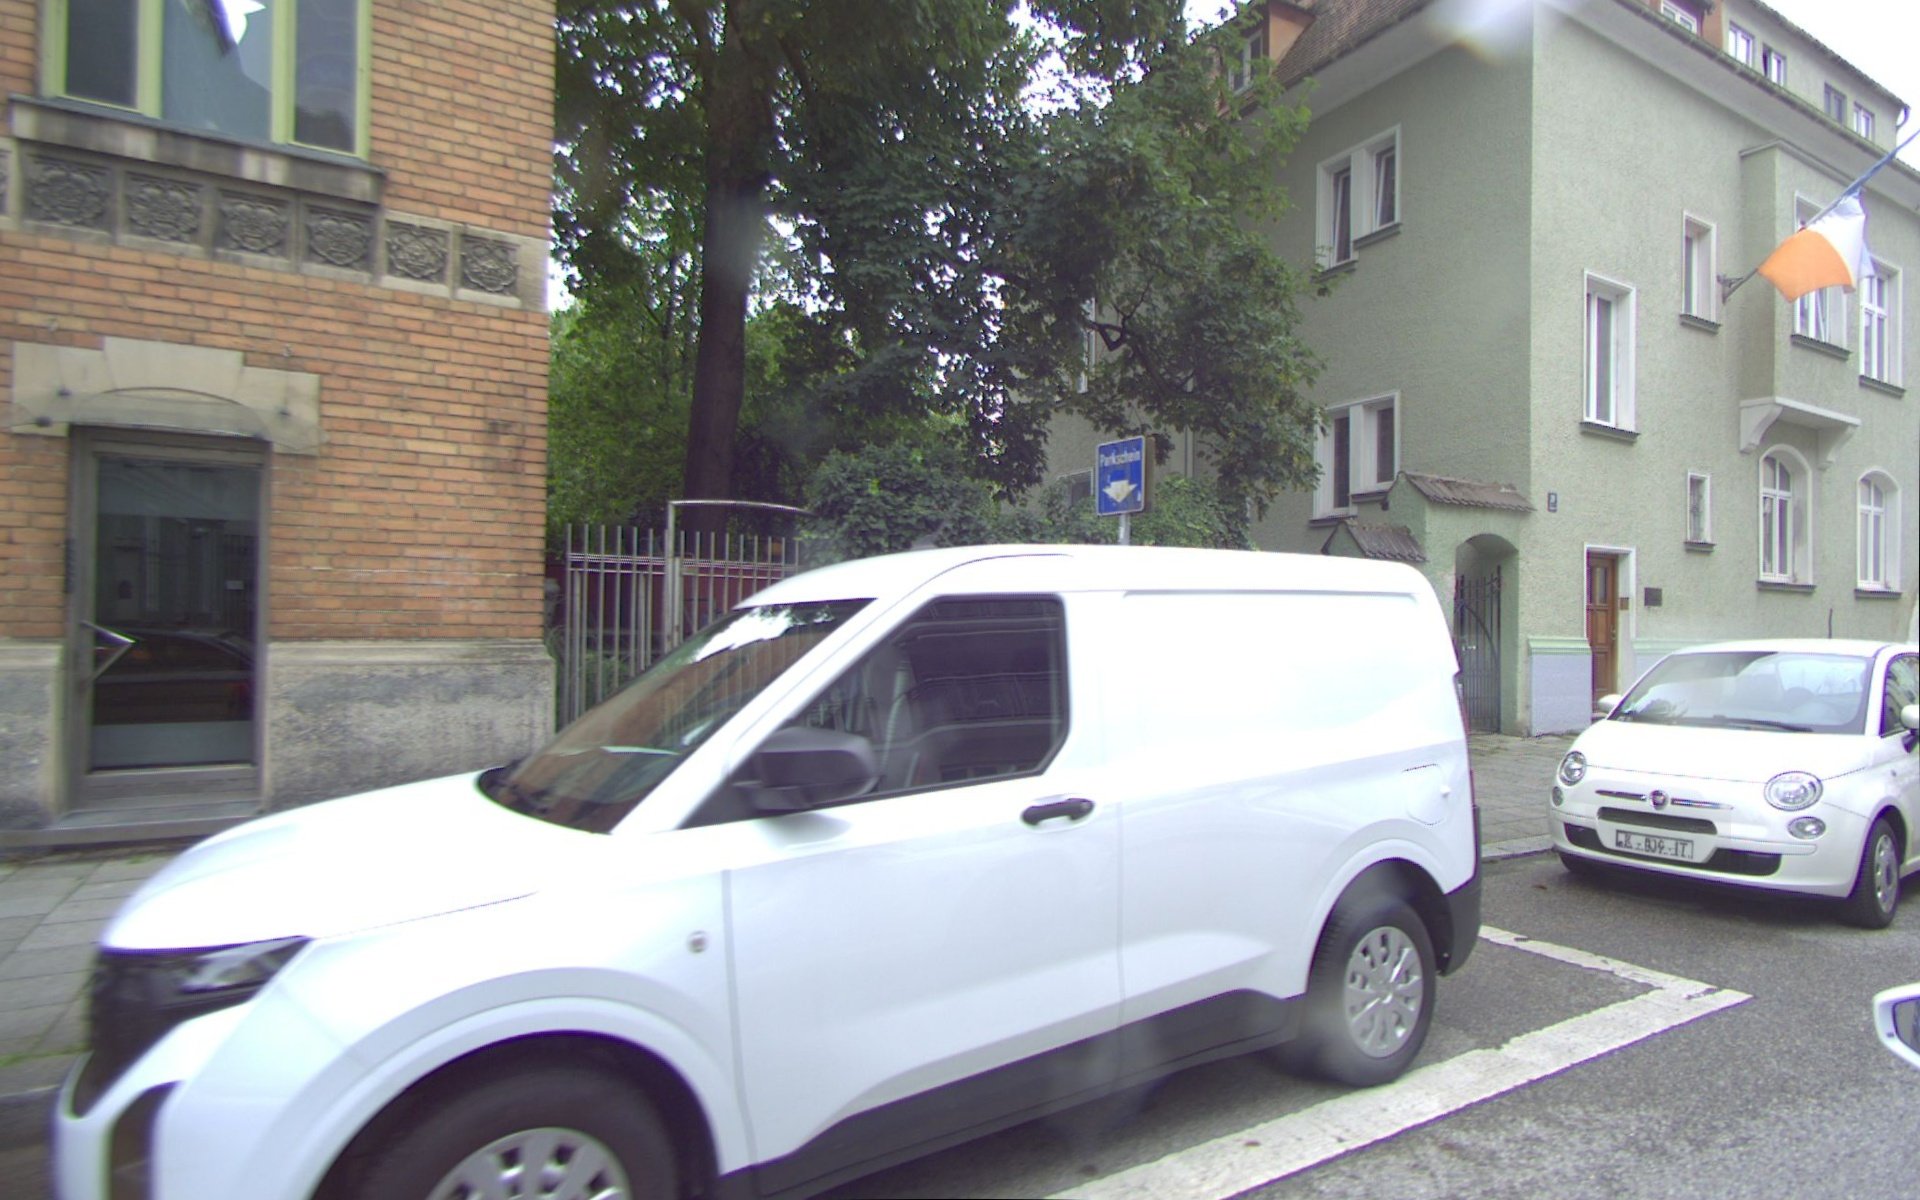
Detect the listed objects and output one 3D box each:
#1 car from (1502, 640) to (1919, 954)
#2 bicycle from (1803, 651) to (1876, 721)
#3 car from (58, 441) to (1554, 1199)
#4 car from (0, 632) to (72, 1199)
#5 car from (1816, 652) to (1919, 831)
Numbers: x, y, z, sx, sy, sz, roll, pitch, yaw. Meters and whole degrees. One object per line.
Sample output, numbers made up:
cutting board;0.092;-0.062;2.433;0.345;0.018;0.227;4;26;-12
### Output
car;5.237;1.003;6.423;3.481;1.487;1.618;1;-2;-32
bicycle;14.682;1.409;16.754;1.506;1.099;0.458;2;0;-31
car;-0.028;0.693;3.389;4.201;1.779;1.707;1;-2;-31
car;-3.974;0.762;1.166;4.118;1.439;1.707;1;-2;-31
car;9.652;1.179;8.985;4.352;1.386;1.737;1;-2;-31
